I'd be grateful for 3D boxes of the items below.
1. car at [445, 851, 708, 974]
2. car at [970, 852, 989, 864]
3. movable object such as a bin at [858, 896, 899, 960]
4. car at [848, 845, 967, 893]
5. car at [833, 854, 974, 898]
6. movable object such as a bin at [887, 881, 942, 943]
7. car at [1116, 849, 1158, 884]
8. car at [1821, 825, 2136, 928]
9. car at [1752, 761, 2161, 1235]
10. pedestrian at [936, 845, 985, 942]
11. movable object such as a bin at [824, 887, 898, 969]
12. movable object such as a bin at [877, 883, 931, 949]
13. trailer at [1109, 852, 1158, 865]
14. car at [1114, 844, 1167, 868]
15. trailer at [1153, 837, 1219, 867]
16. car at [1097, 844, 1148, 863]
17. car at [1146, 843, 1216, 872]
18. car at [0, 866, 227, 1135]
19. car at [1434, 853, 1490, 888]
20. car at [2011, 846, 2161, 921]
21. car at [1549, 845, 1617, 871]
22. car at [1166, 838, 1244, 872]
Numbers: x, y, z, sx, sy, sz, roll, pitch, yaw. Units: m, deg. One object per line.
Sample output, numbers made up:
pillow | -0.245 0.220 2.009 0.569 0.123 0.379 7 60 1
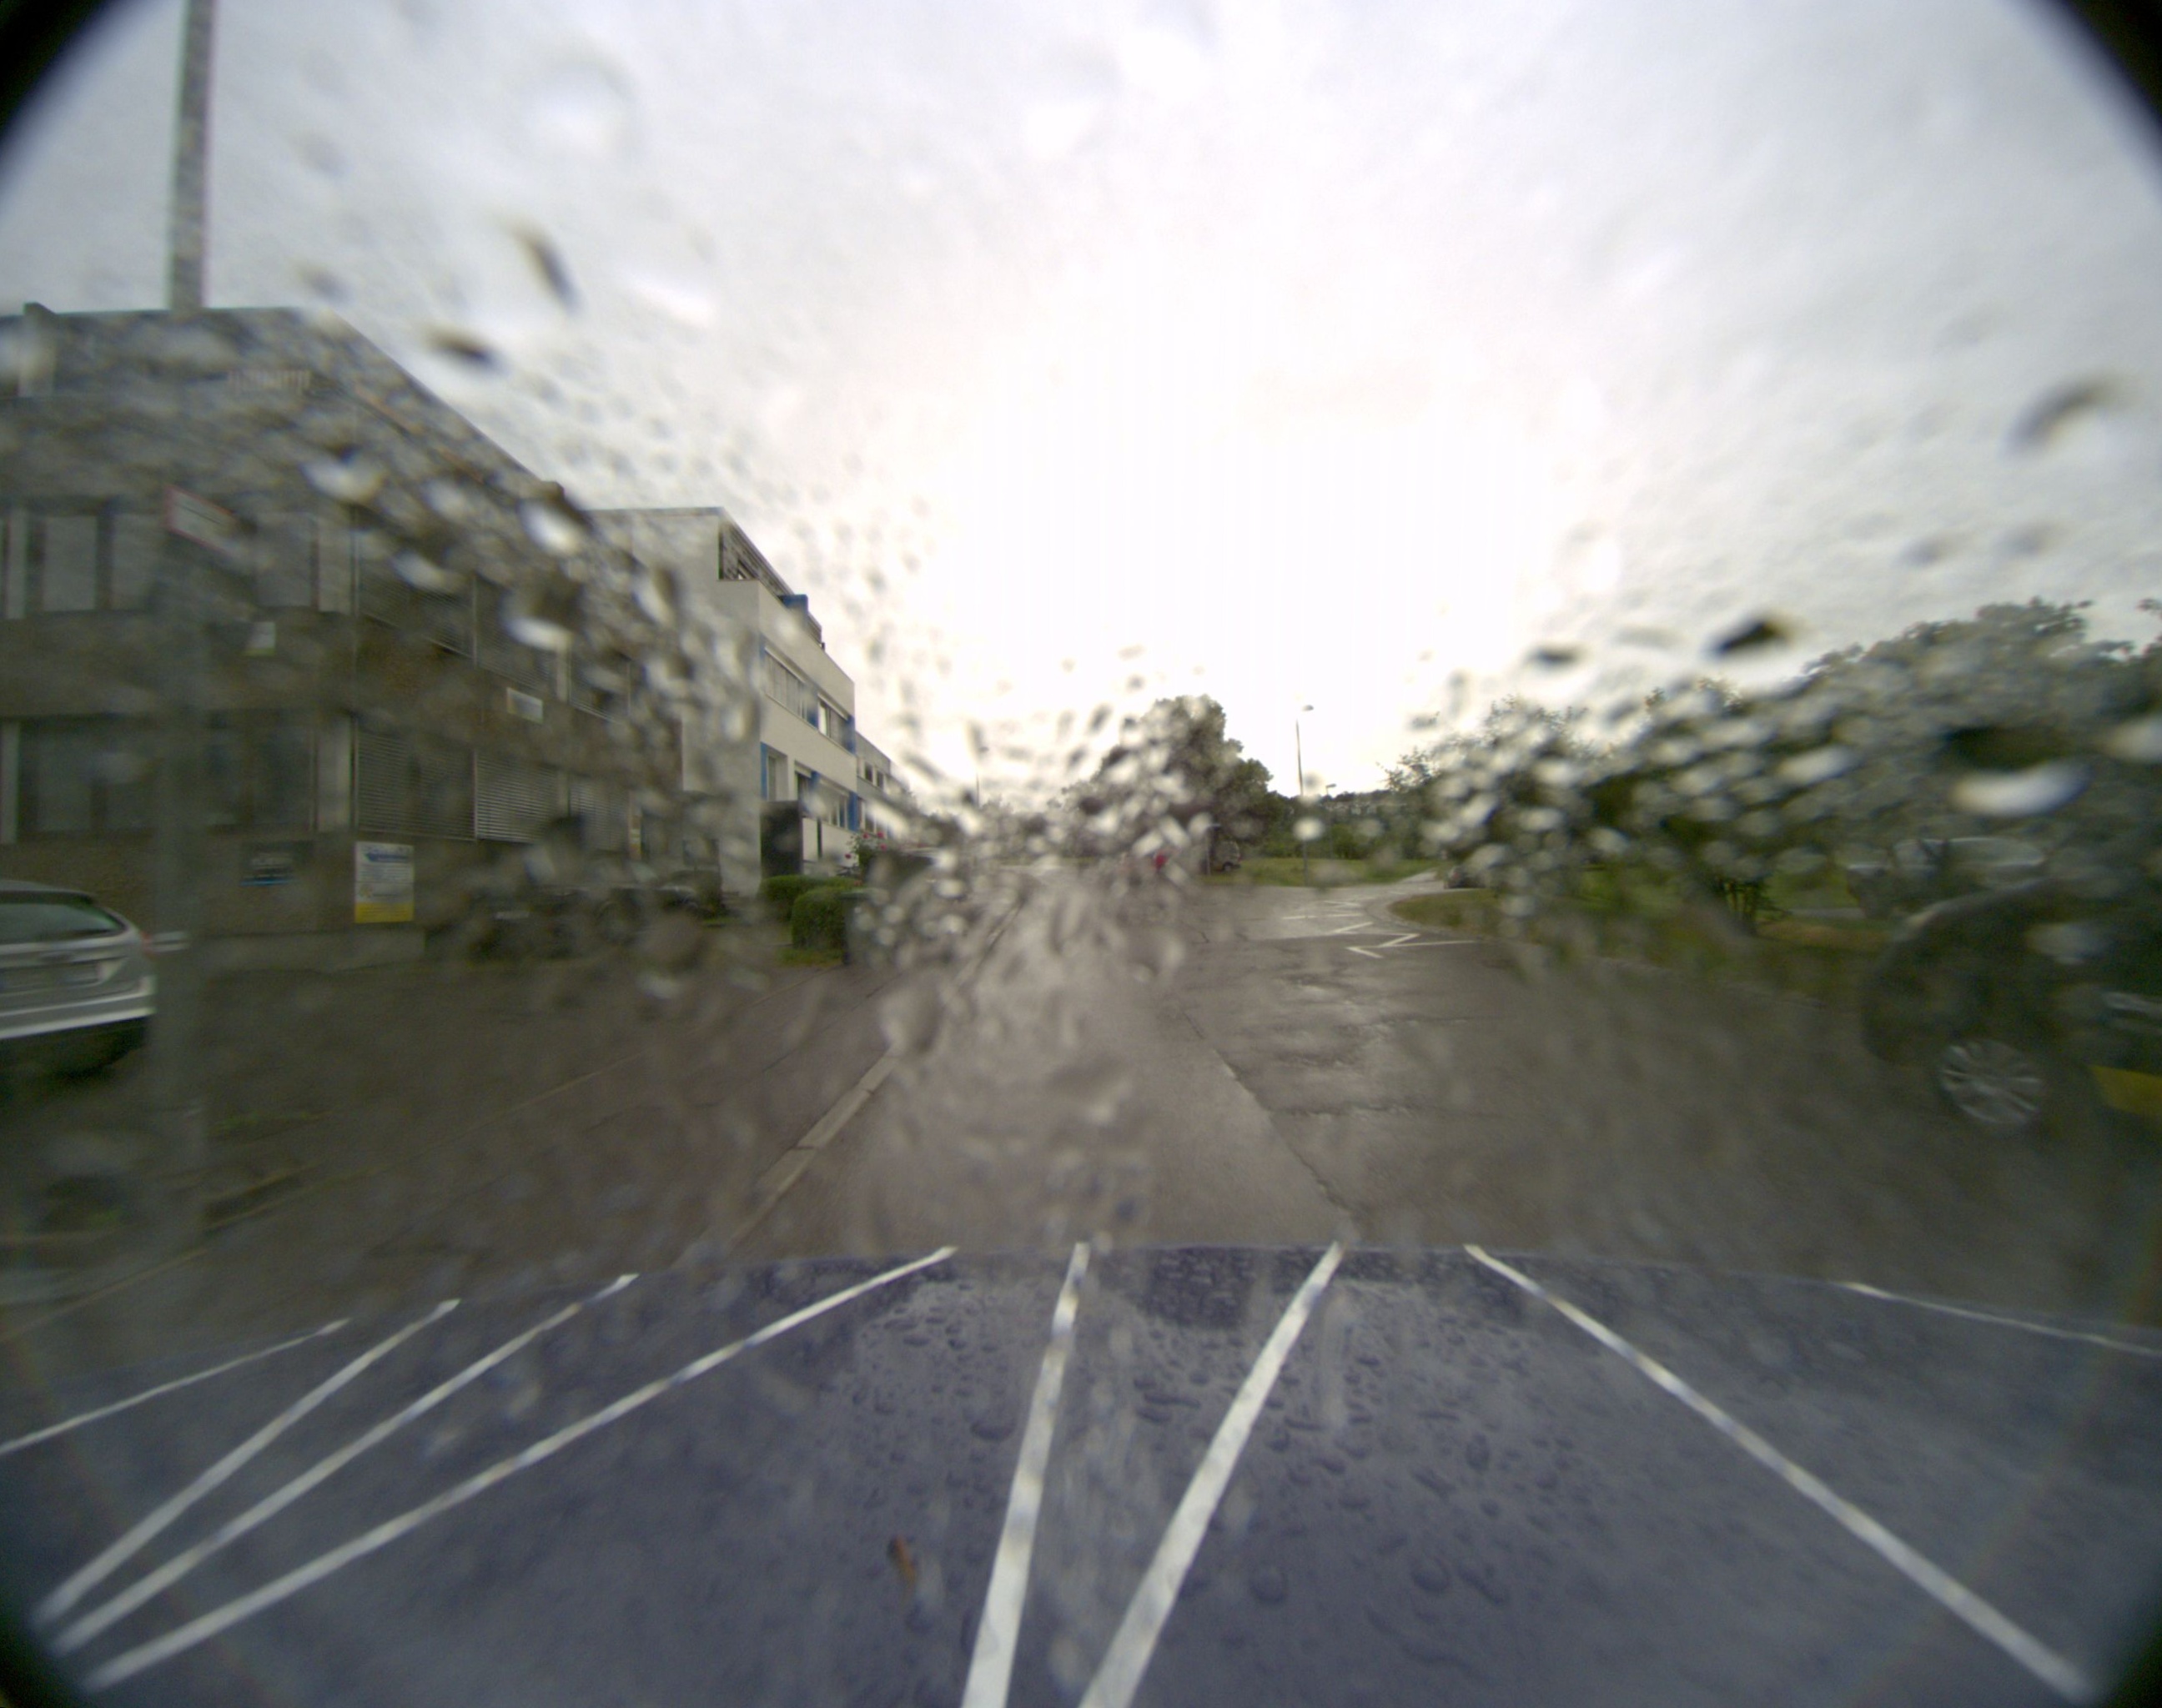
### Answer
car | -8.572 0.856 13.504 1.753 1.740 4.471 -1 1 -2
car | -15.821 0.577 118.417 1.819 1.717 4.643 -2 1 -23
movable object such as a bin | -3.217 1.166 12.091 0.473 0.961 0.514 -2 1 -1
car | -6.851 0.577 30.463 4.353 1.763 2.088 -1 1 -4
car | -6.297 0.770 27.407 4.609 1.529 2.078 0 0 -3
movable object such as a bin | -2.989 1.028 13.701 0.773 1.024 0.808 -2 1 -1
car | 2.710 0.563 37.265 1.752 1.500 3.934 -2 1 0
car | 19.698 0.534 17.201 2.131 1.910 5.620 -2 -2 21
car | 5.106 0.530 2.222 1.920 1.821 4.846 -2 1 -1
pedestrian | -2.246 0.720 14.263 0.738 1.757 0.808 -2 1 -1
movable object such as a bin | -3.170 1.059 10.990 0.730 1.107 0.704 -2 1 14
movable object such as a bin | -3.012 1.042 12.965 0.745 1.060 0.636 -2 1 -1
trailer | 4.509 0.398 65.671 3.953 0.955 1.999 -3 0 -7
car | 4.932 0.114 63.042 4.085 1.712 2.024 -4 1 -4
trailer | 7.272 -0.141 52.911 4.225 1.973 1.773 -1 1 -5
car | 3.823 -0.054 70.997 4.382 1.712 2.043 -2 1 -9
car | 6.540 0.212 49.781 4.209 1.712 1.754 -2 1 -8
car | -8.587 0.886 4.731 4.132 1.565 2.003 1 1 -3
car | 20.424 0.934 40.903 1.996 1.742 4.392 -1 -3 17
car | 21.854 0.550 15.248 1.995 1.388 4.697 -1 0 21
car | 42.709 0.338 64.762 4.493 2.207 1.932 0 0 17
car | 7.273 0.031 44.936 4.311 1.895 1.861 -1 1 0
